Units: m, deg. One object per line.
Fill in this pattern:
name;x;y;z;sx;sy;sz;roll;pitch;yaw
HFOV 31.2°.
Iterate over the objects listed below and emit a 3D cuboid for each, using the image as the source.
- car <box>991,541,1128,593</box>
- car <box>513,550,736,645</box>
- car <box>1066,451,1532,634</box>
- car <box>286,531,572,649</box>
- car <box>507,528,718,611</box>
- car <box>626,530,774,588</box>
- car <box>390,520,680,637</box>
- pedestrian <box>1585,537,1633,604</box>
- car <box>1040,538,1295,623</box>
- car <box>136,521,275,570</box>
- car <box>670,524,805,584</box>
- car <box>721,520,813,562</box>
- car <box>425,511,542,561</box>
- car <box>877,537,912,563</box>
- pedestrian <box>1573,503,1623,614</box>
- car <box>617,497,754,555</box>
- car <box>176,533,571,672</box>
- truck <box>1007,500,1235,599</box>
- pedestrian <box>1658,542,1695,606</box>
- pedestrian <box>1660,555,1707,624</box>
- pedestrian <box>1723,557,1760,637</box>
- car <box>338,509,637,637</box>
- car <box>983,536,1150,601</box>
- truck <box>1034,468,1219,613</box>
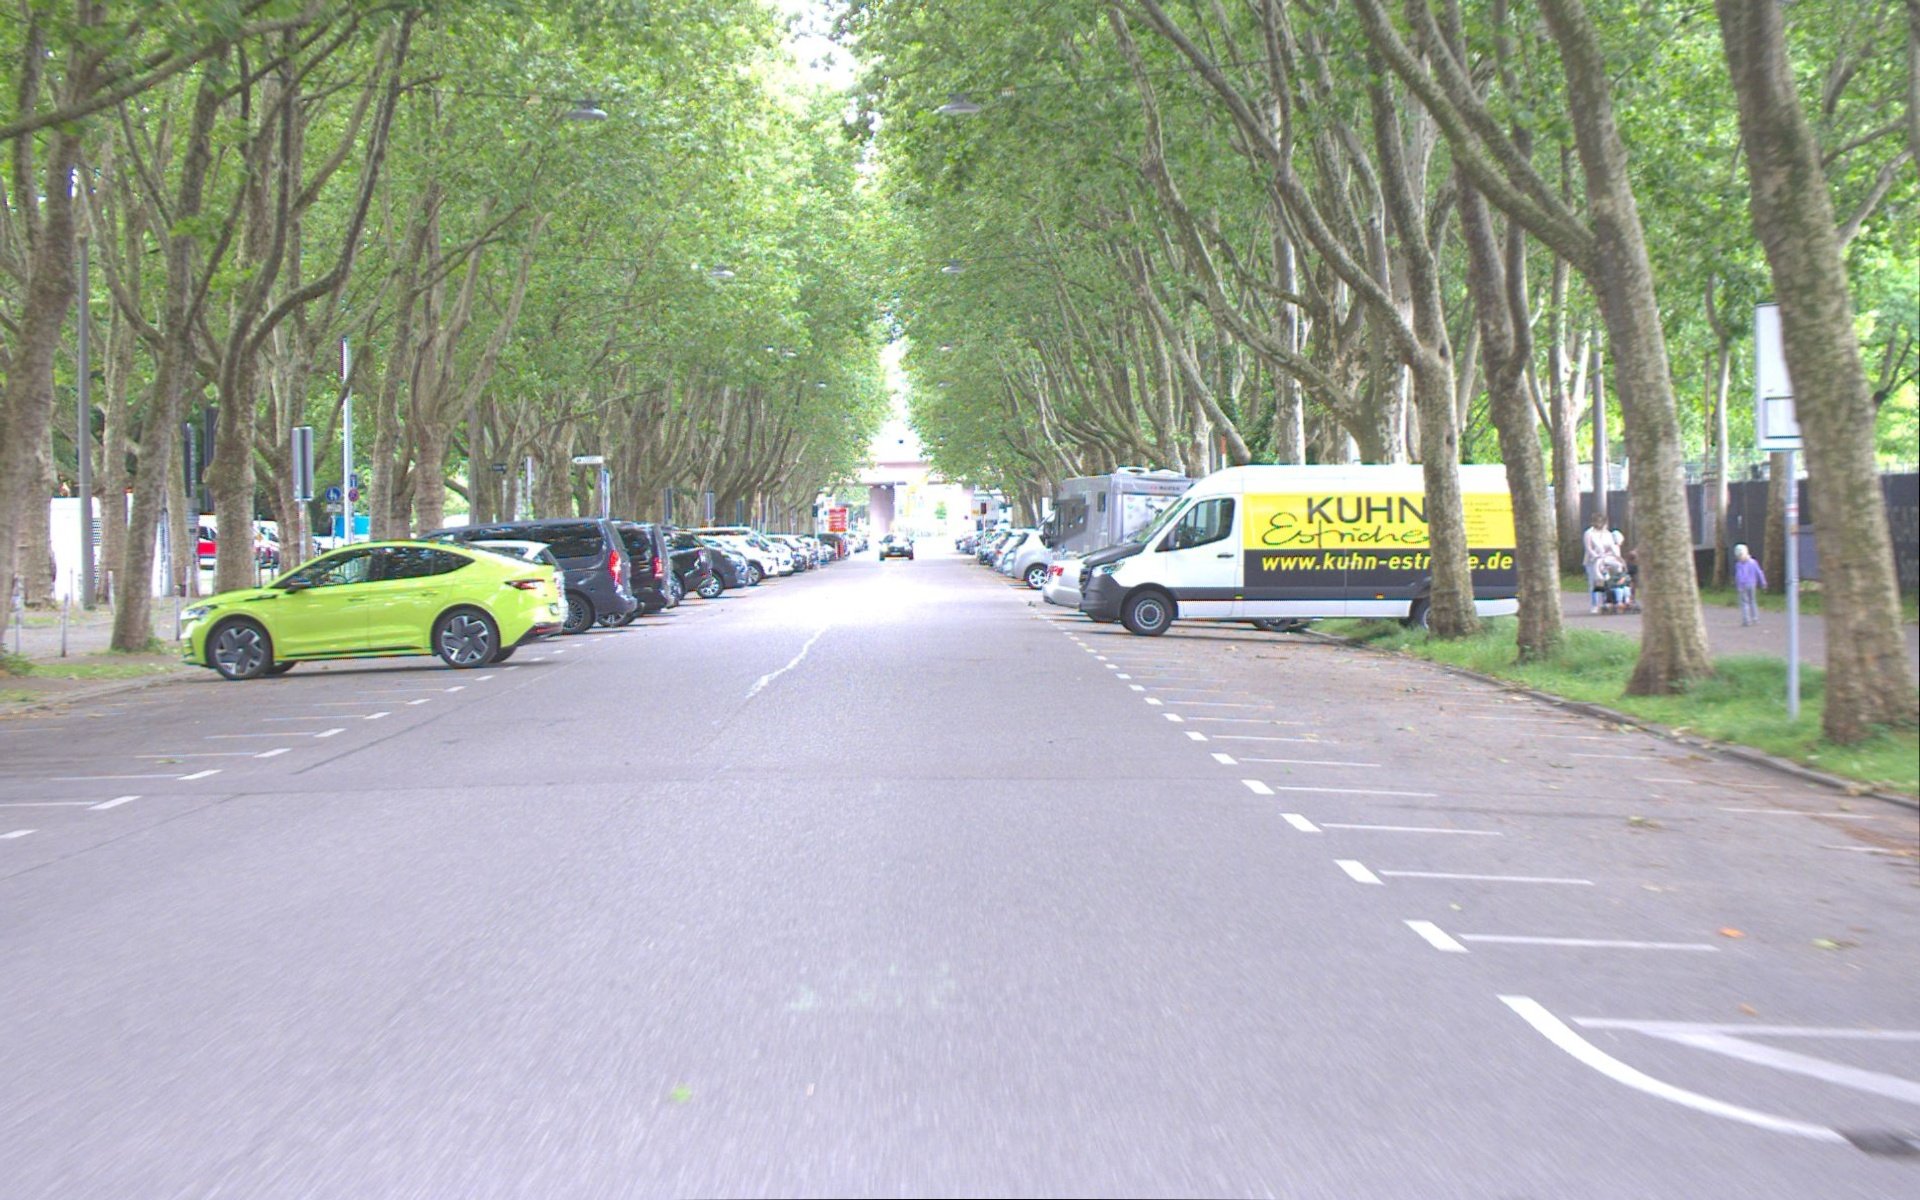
car;3.065;-1.011;106.022;4.120;1.424;1.703;2;0;2
car;-8.487;-0.074;87.295;5.435;2.120;1.940;-3;2;-2
car;5.077;-0.871;52.257;6.881;2.686;2.127;0;1;1
car;-8.005;-0.168;52.144;4.104;1.563;1.758;-3;1;-5
car;-8.052;-0.701;79.534;4.652;1.814;1.806;-1;0;-11
car;-7.971;-1.270;105.675;4.379;1.591;2.000;-3;1;-2
car;-7.660;-0.407;62.294;4.905;1.917;2.208;-2;1;1
pedestrian;10.248;-0.471;54.293;0.639;1.056;0.676;0;1;1
car;3.602;-0.345;59.727;4.360;1.440;1.612;0;1;4
car;-35.007;-2.543;159.646;6.001;2.245;2.000;0;1;0
car;-8.312;-1.728;128.699;4.893;2.012;1.920;-2;1;-1
car;-8.182;-2.491;145.698;3.826;1.622;1.953;-2;1;-3
car;-24.847;-3.325;179.384;5.786;2.588;2.000;0;1;0
car;-3.641;-2.774;190.150;1.654;1.359;4.113;-3;1;-4
pedestrian;10.218;-0.671;55.094;0.639;1.735;0.621;-3;1;3
car;-9.048;-2.427;113.629;4.340;1.662;2.000;-3;1;-2
car;-7.178;0.018;42.344;4.516;1.612;1.758;-1;1;2
truck;4.483;-1.421;95.897;6.294;2.706;2.098;0;1;3
pedestrian;11.583;-0.417;55.566;0.417;1.031;0.396;0;1;-40
pedestrian;11.415;-0.172;54.271;0.592;1.045;0.588;-3;1;3
pedestrian;10.797;-0.038;47.502;0.395;1.080;0.419;-3;1;3
car;-7.809;-0.456;57.200;4.761;1.917;2.018;-2;1;-5
car;2.831;-0.844;91.104;4.340;1.612;1.803;1;1;3
truck;3.473;-1.264;73.506;2.458;2.927;7.540;0;1;-9
